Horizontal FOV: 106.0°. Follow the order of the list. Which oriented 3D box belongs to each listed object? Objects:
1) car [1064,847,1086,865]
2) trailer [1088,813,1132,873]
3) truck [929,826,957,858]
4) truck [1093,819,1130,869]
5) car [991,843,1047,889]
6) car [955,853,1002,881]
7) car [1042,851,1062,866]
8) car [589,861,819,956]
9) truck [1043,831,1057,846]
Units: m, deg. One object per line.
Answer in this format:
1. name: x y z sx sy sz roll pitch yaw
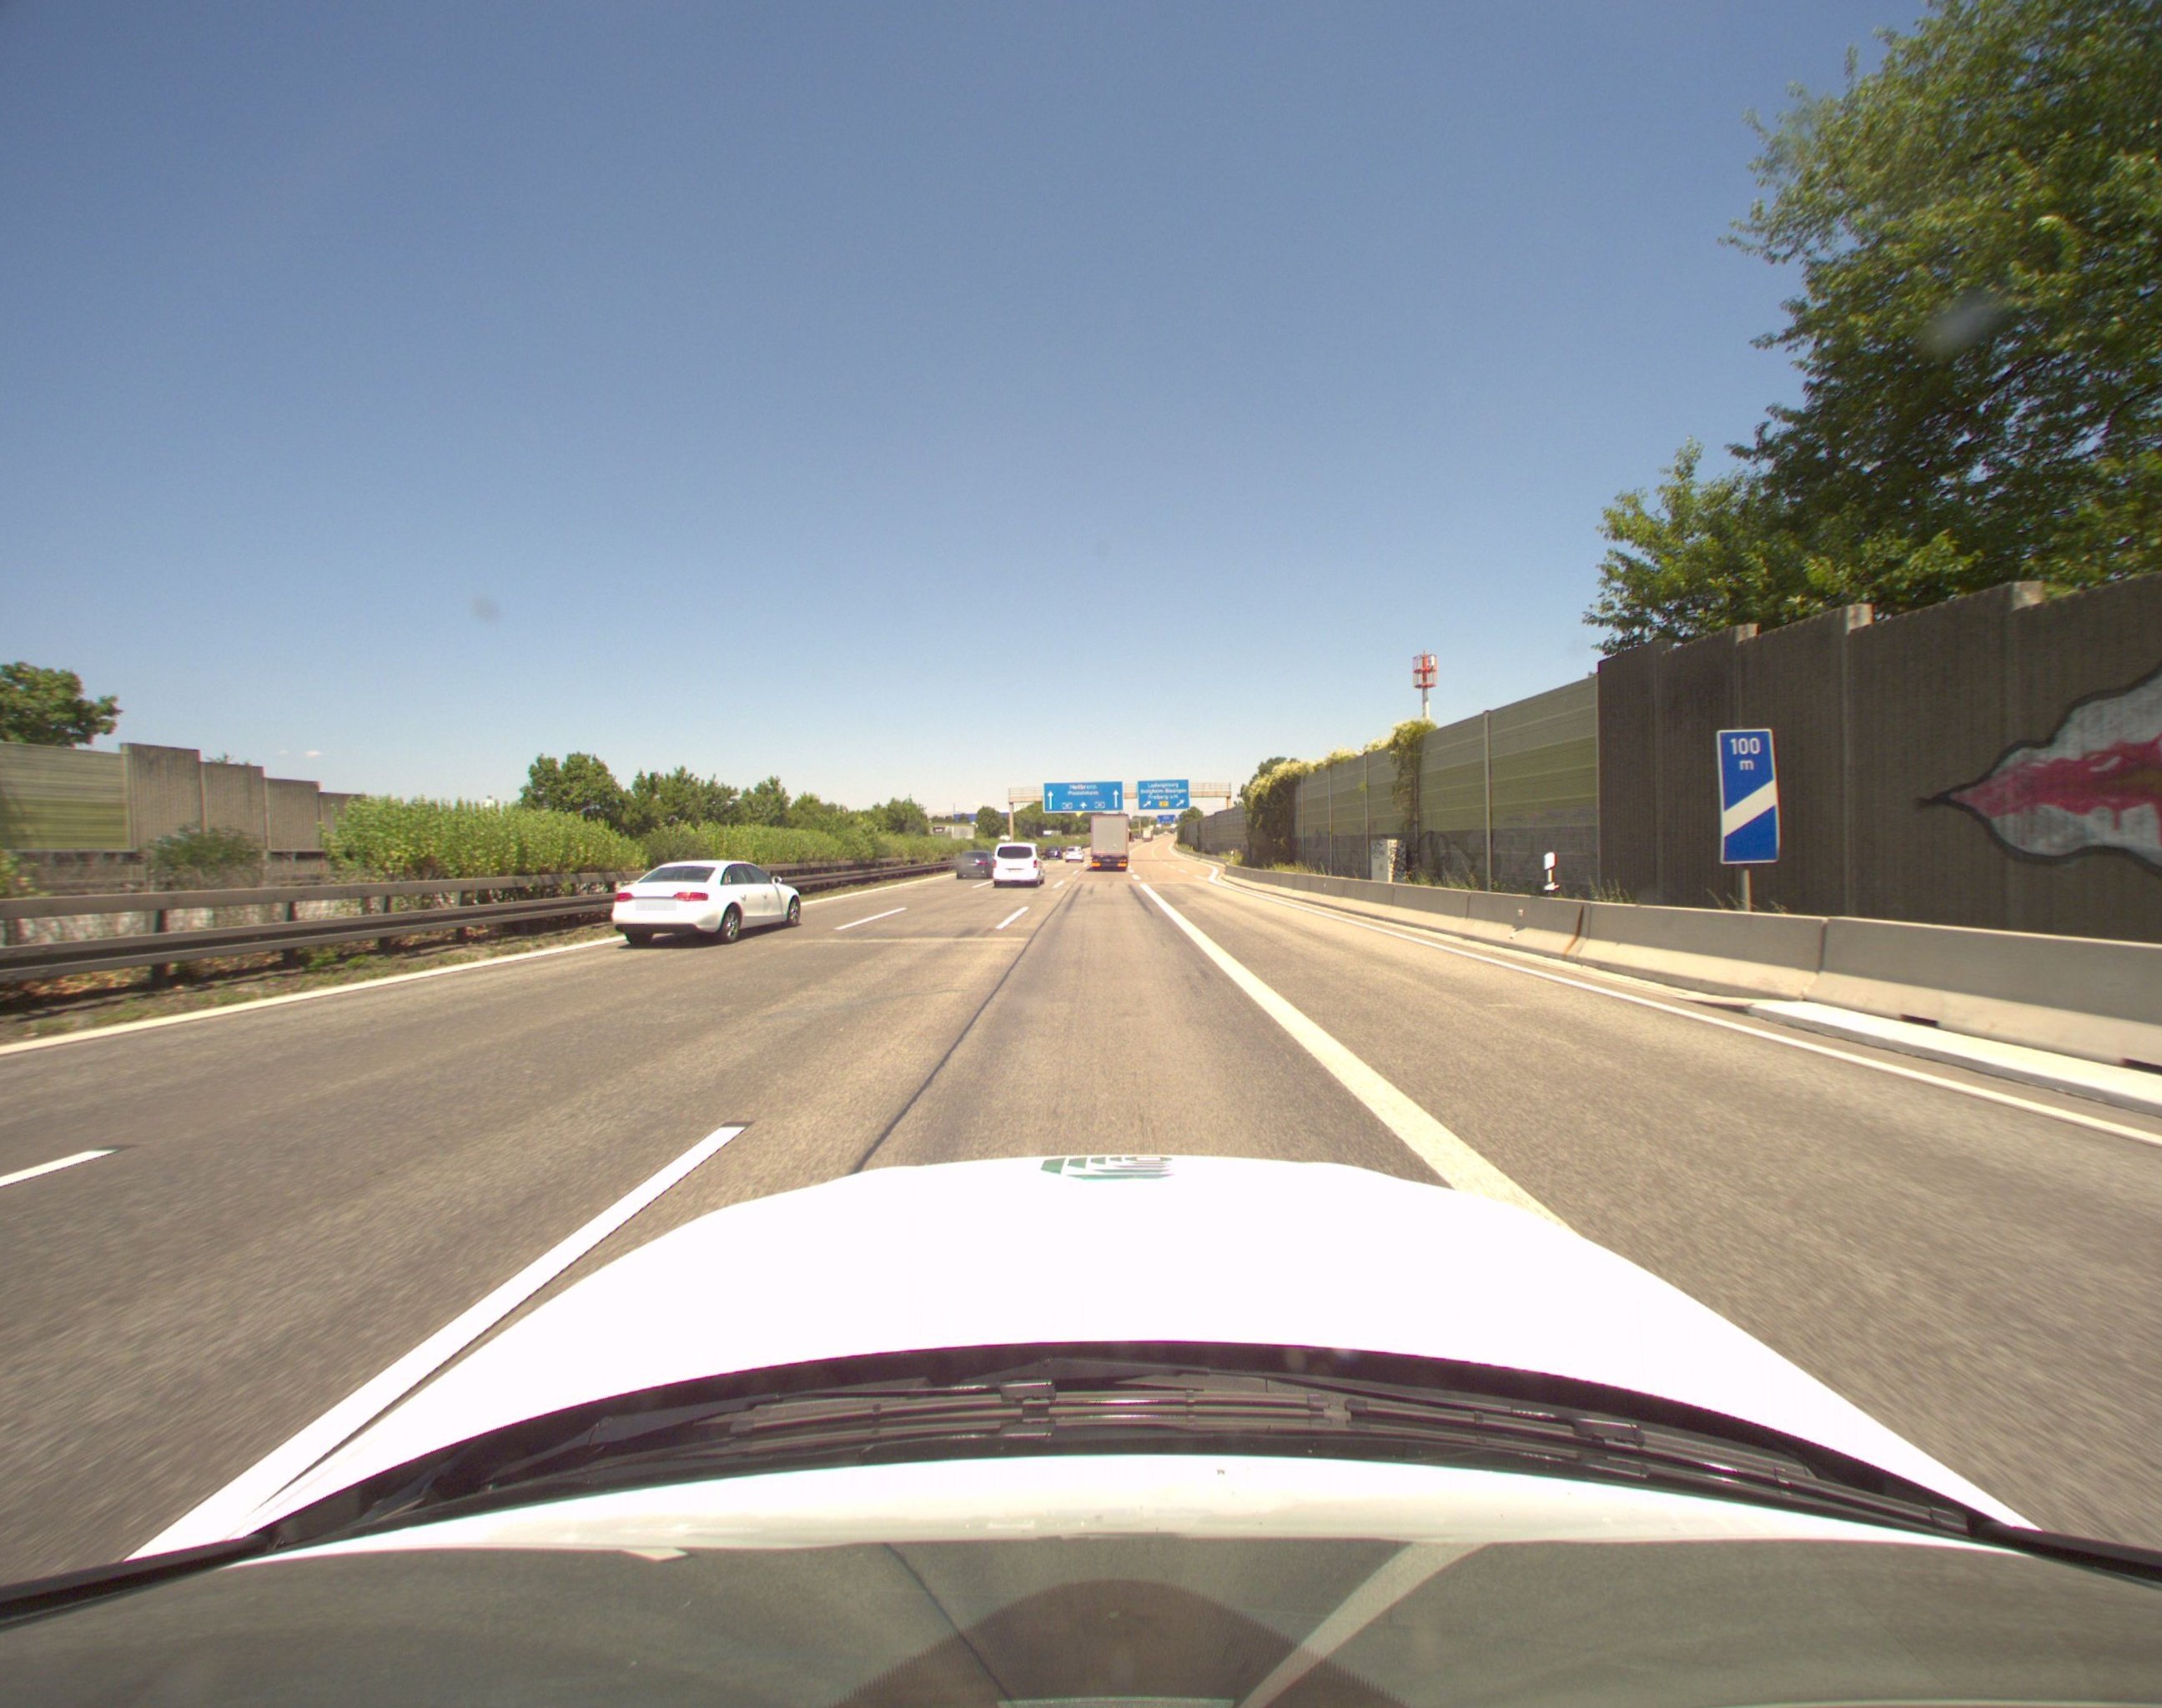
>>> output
1. car: -0.568 0.198 84.783 1.896 1.851 4.636 -1 0 4
2. trailer: 2.244 -0.776 61.588 2.916 4.015 12.046 -1 0 3
3. truck: -18.502 -1.630 109.077 2.593 4.155 4.754 -1 1 4
4. truck: 2.611 -0.807 69.324 2.916 4.015 7.588 -1 0 2
5. car: -2.627 0.486 35.600 1.923 1.851 4.693 -1 0 1
6. car: -5.472 0.665 44.128 1.750 1.408 5.041 -1 0 1
7. car: -3.398 0.543 96.285 1.896 1.689 4.635 -1 0 3
8. car: -6.793 0.878 15.446 1.870 1.440 5.127 0 0 1
9. truck: -8.520 -4.342 223.833 2.989 3.967 10.331 0 1 3
